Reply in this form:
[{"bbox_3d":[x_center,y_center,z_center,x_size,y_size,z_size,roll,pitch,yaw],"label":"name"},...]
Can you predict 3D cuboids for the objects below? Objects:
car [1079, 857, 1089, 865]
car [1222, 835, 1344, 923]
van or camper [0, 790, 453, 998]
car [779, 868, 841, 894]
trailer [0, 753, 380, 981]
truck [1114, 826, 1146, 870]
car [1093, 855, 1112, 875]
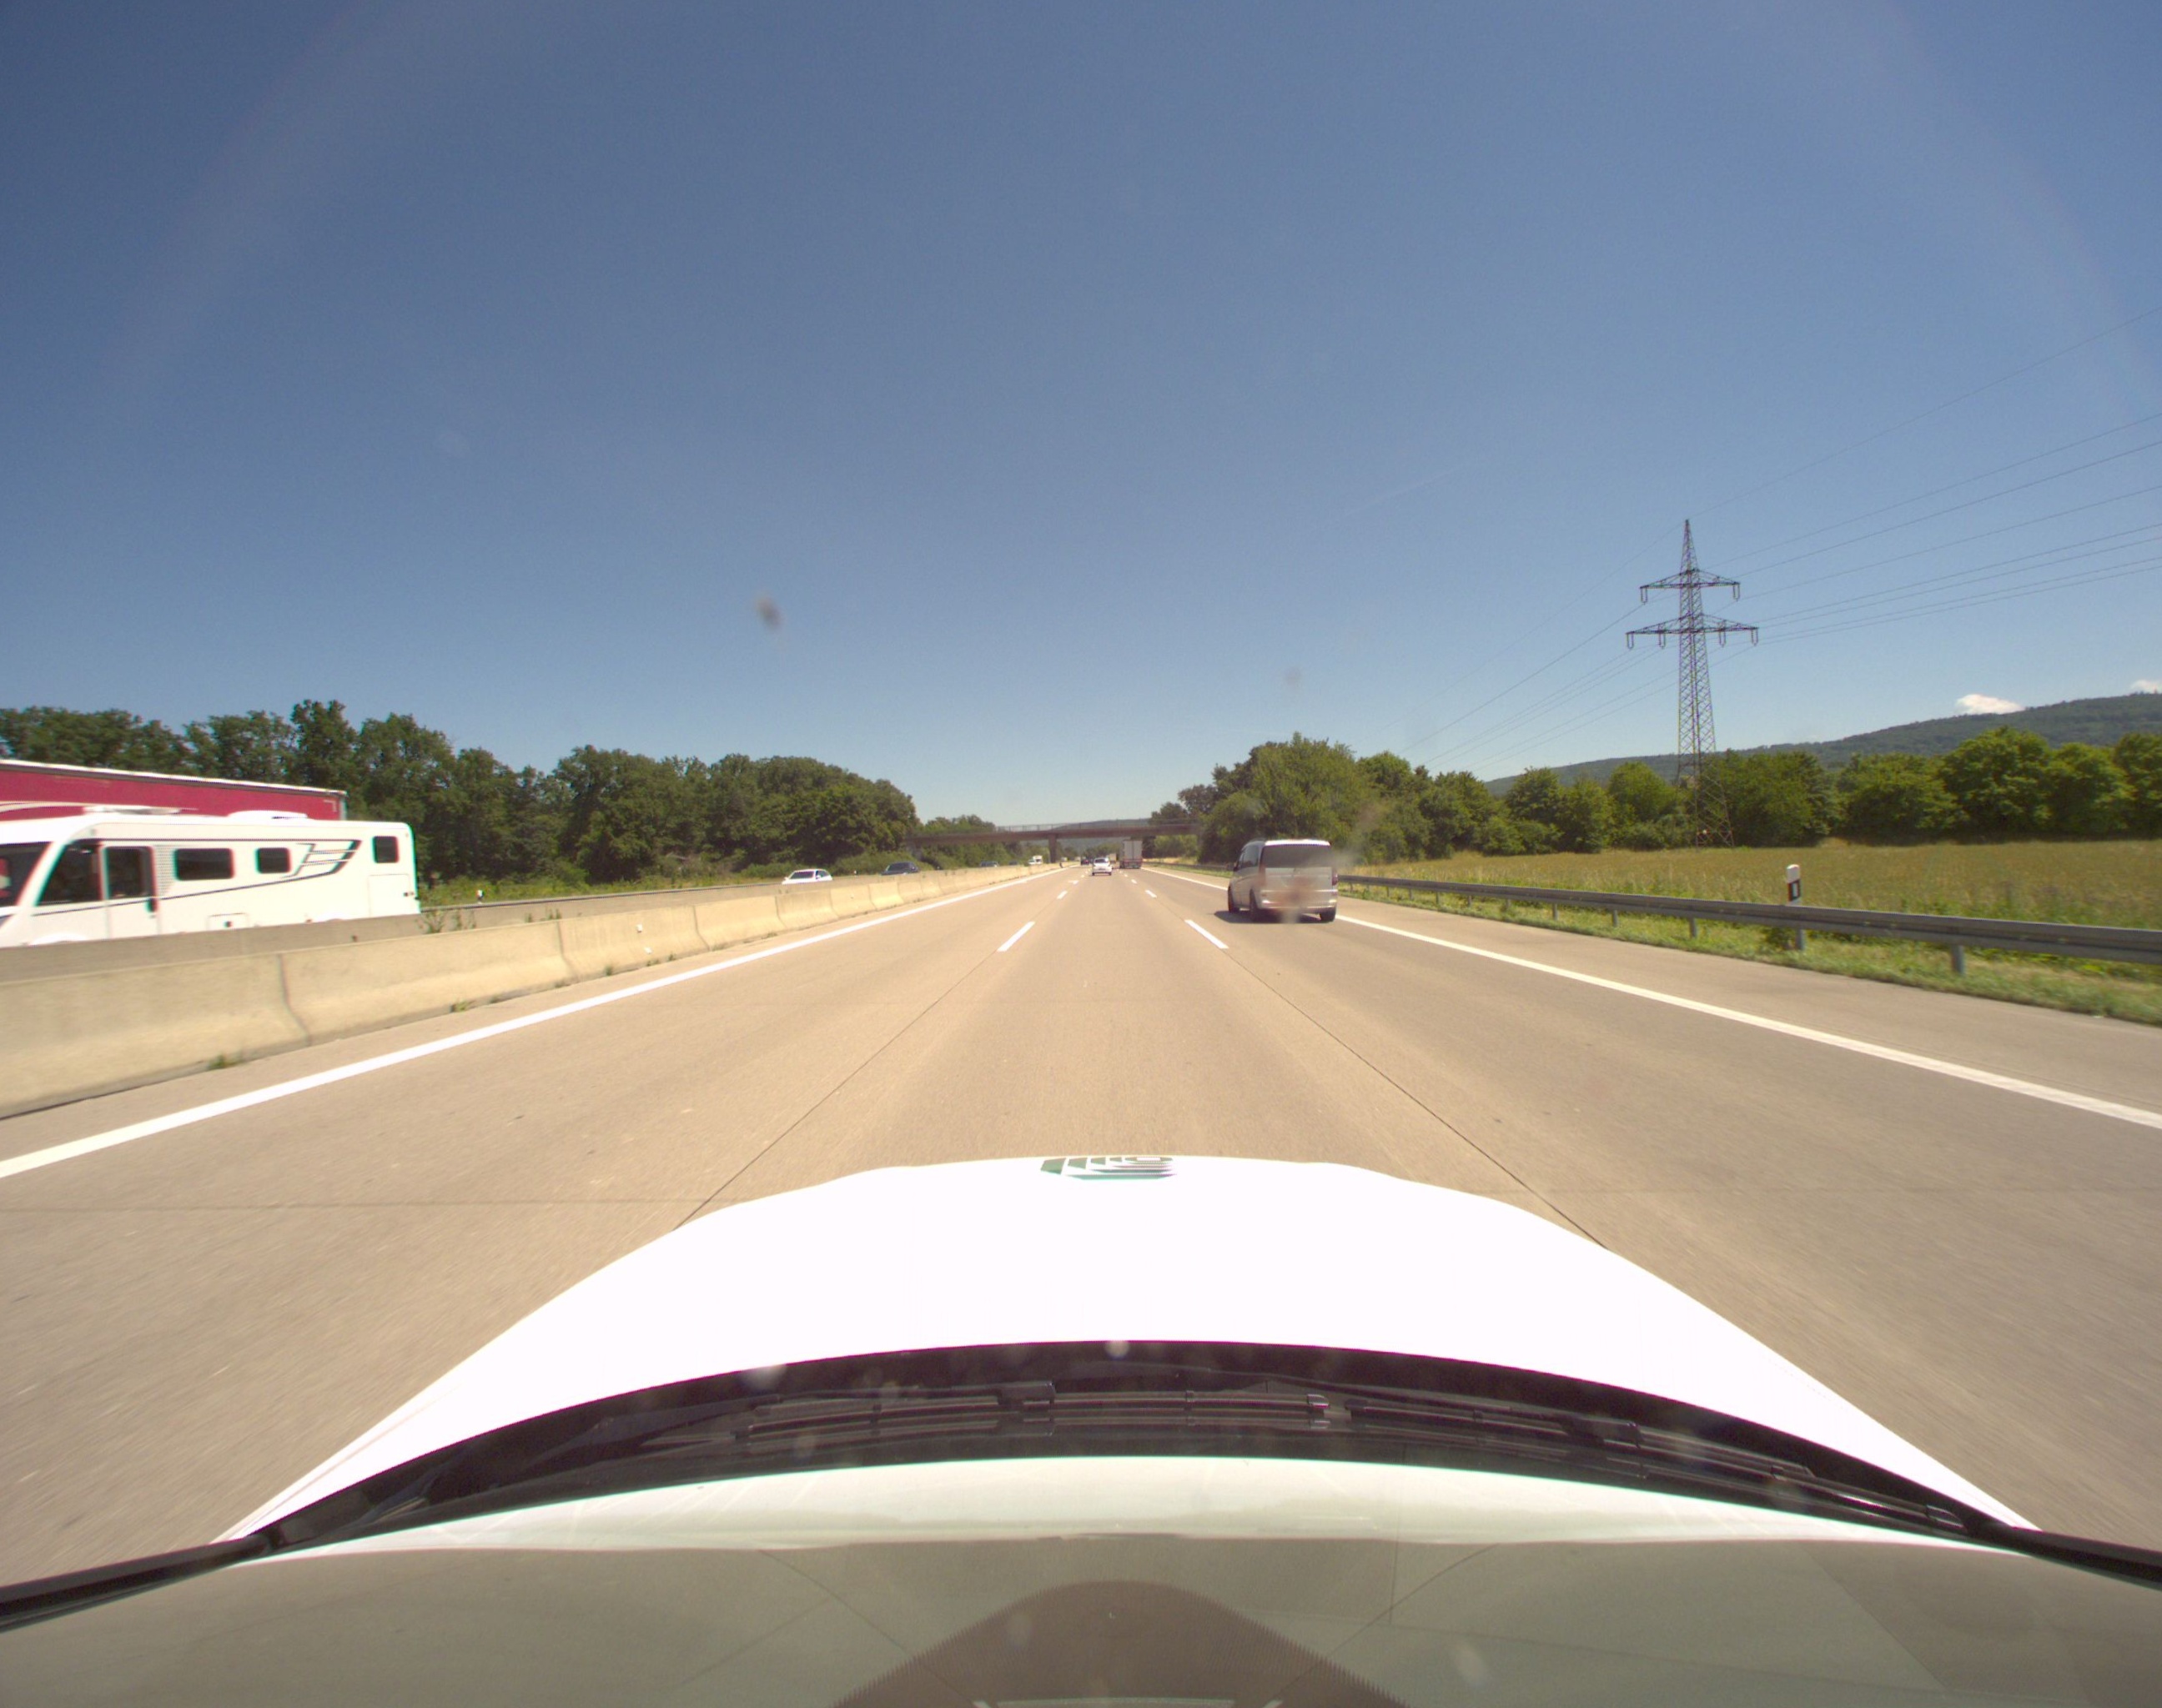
[{"bbox_3d":[0.580,1.565,178.604,2.016,1.701,3.998,0,-1,-1],"label":"car"},{"bbox_3d":[4.886,0.556,20.538,1.872,1.889,5.281,-1,0,1],"label":"car"},{"bbox_3d":[-16.199,0.593,15.237,2.517,2.890,7.939,-2,0,1],"label":"van or camper"},{"bbox_3d":[-15.168,1.498,45.796,1.681,1.263,4.793,-2,0,2],"label":"car"},{"bbox_3d":[-20.341,0.267,15.458,2.988,3.982,12.346,-2,0,2],"label":"trailer"},{"bbox_3d":[6.917,-0.703,117.848,3.566,5.787,18.244,-1,0,0],"label":"truck"},{"bbox_3d":[1.888,0.933,71.194,1.635,1.662,3.361,0,0,1],"label":"car"}]
